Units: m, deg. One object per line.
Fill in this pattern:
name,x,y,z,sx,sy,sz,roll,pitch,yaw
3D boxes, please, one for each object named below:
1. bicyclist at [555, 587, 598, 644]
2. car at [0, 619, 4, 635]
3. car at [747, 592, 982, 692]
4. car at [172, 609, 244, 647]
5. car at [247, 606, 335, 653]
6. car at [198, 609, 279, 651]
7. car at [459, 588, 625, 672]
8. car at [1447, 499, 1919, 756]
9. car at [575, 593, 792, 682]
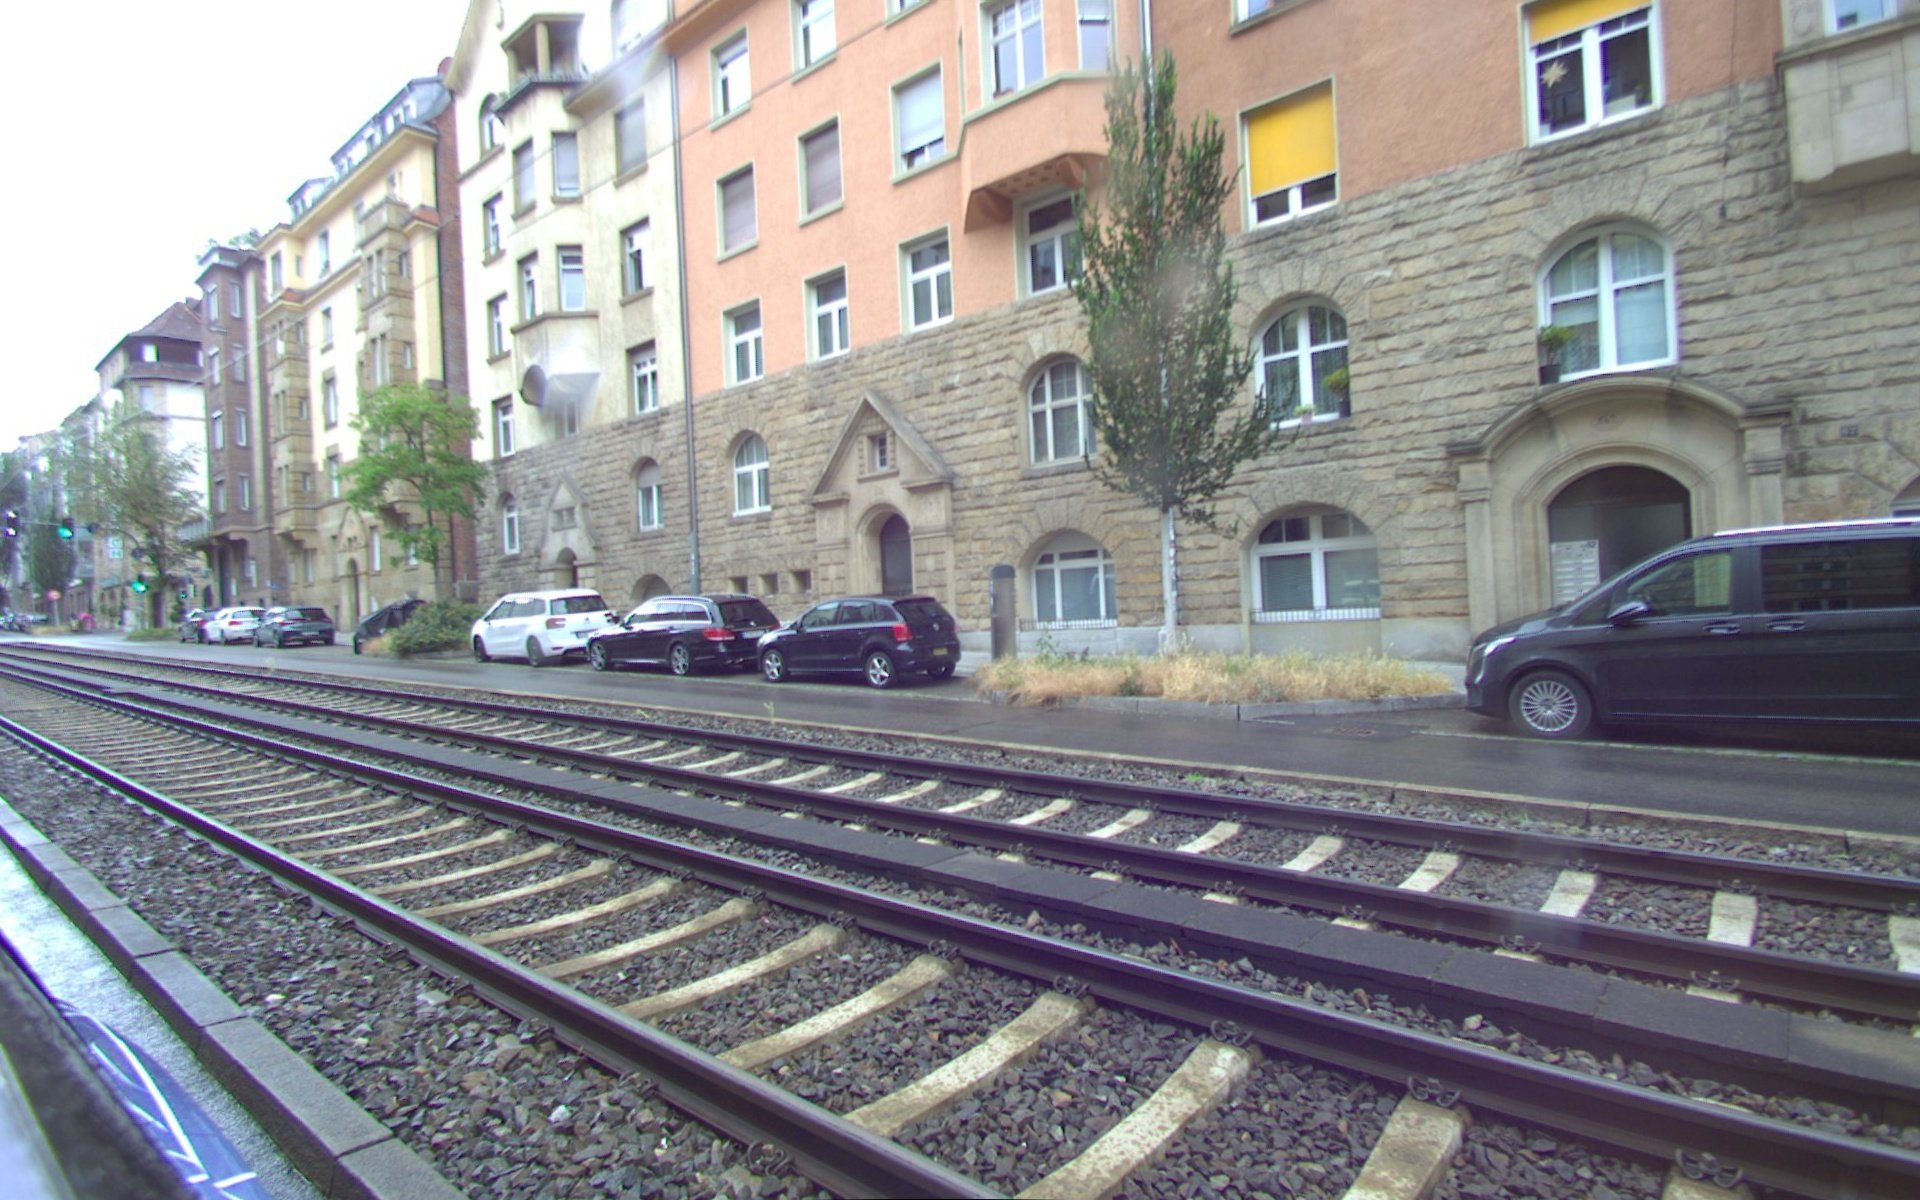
bicyclist,-10.986,0.432,28.977,0.774,1.613,0.883,-1,0,41
car,-81.664,2.257,84.832,4.255,1.356,1.771,-1,0,41
car,-1.644,0.636,16.881,3.690,1.414,1.739,-1,2,38
car,-32.115,1.166,43.175,3.712,1.438,1.737,-1,3,42
car,-23.786,1.011,35.932,3.712,1.493,1.695,-1,3,42
car,-28.422,1.131,39.831,4.043,1.462,1.737,-1,3,42
car,-9.801,0.655,23.597,4.257,1.684,1.738,-1,3,40
car,7.170,0.209,8.976,4.829,1.945,1.886,-1,0,40
car,-5.519,0.679,19.890,4.593,1.502,1.738,-1,2,39
